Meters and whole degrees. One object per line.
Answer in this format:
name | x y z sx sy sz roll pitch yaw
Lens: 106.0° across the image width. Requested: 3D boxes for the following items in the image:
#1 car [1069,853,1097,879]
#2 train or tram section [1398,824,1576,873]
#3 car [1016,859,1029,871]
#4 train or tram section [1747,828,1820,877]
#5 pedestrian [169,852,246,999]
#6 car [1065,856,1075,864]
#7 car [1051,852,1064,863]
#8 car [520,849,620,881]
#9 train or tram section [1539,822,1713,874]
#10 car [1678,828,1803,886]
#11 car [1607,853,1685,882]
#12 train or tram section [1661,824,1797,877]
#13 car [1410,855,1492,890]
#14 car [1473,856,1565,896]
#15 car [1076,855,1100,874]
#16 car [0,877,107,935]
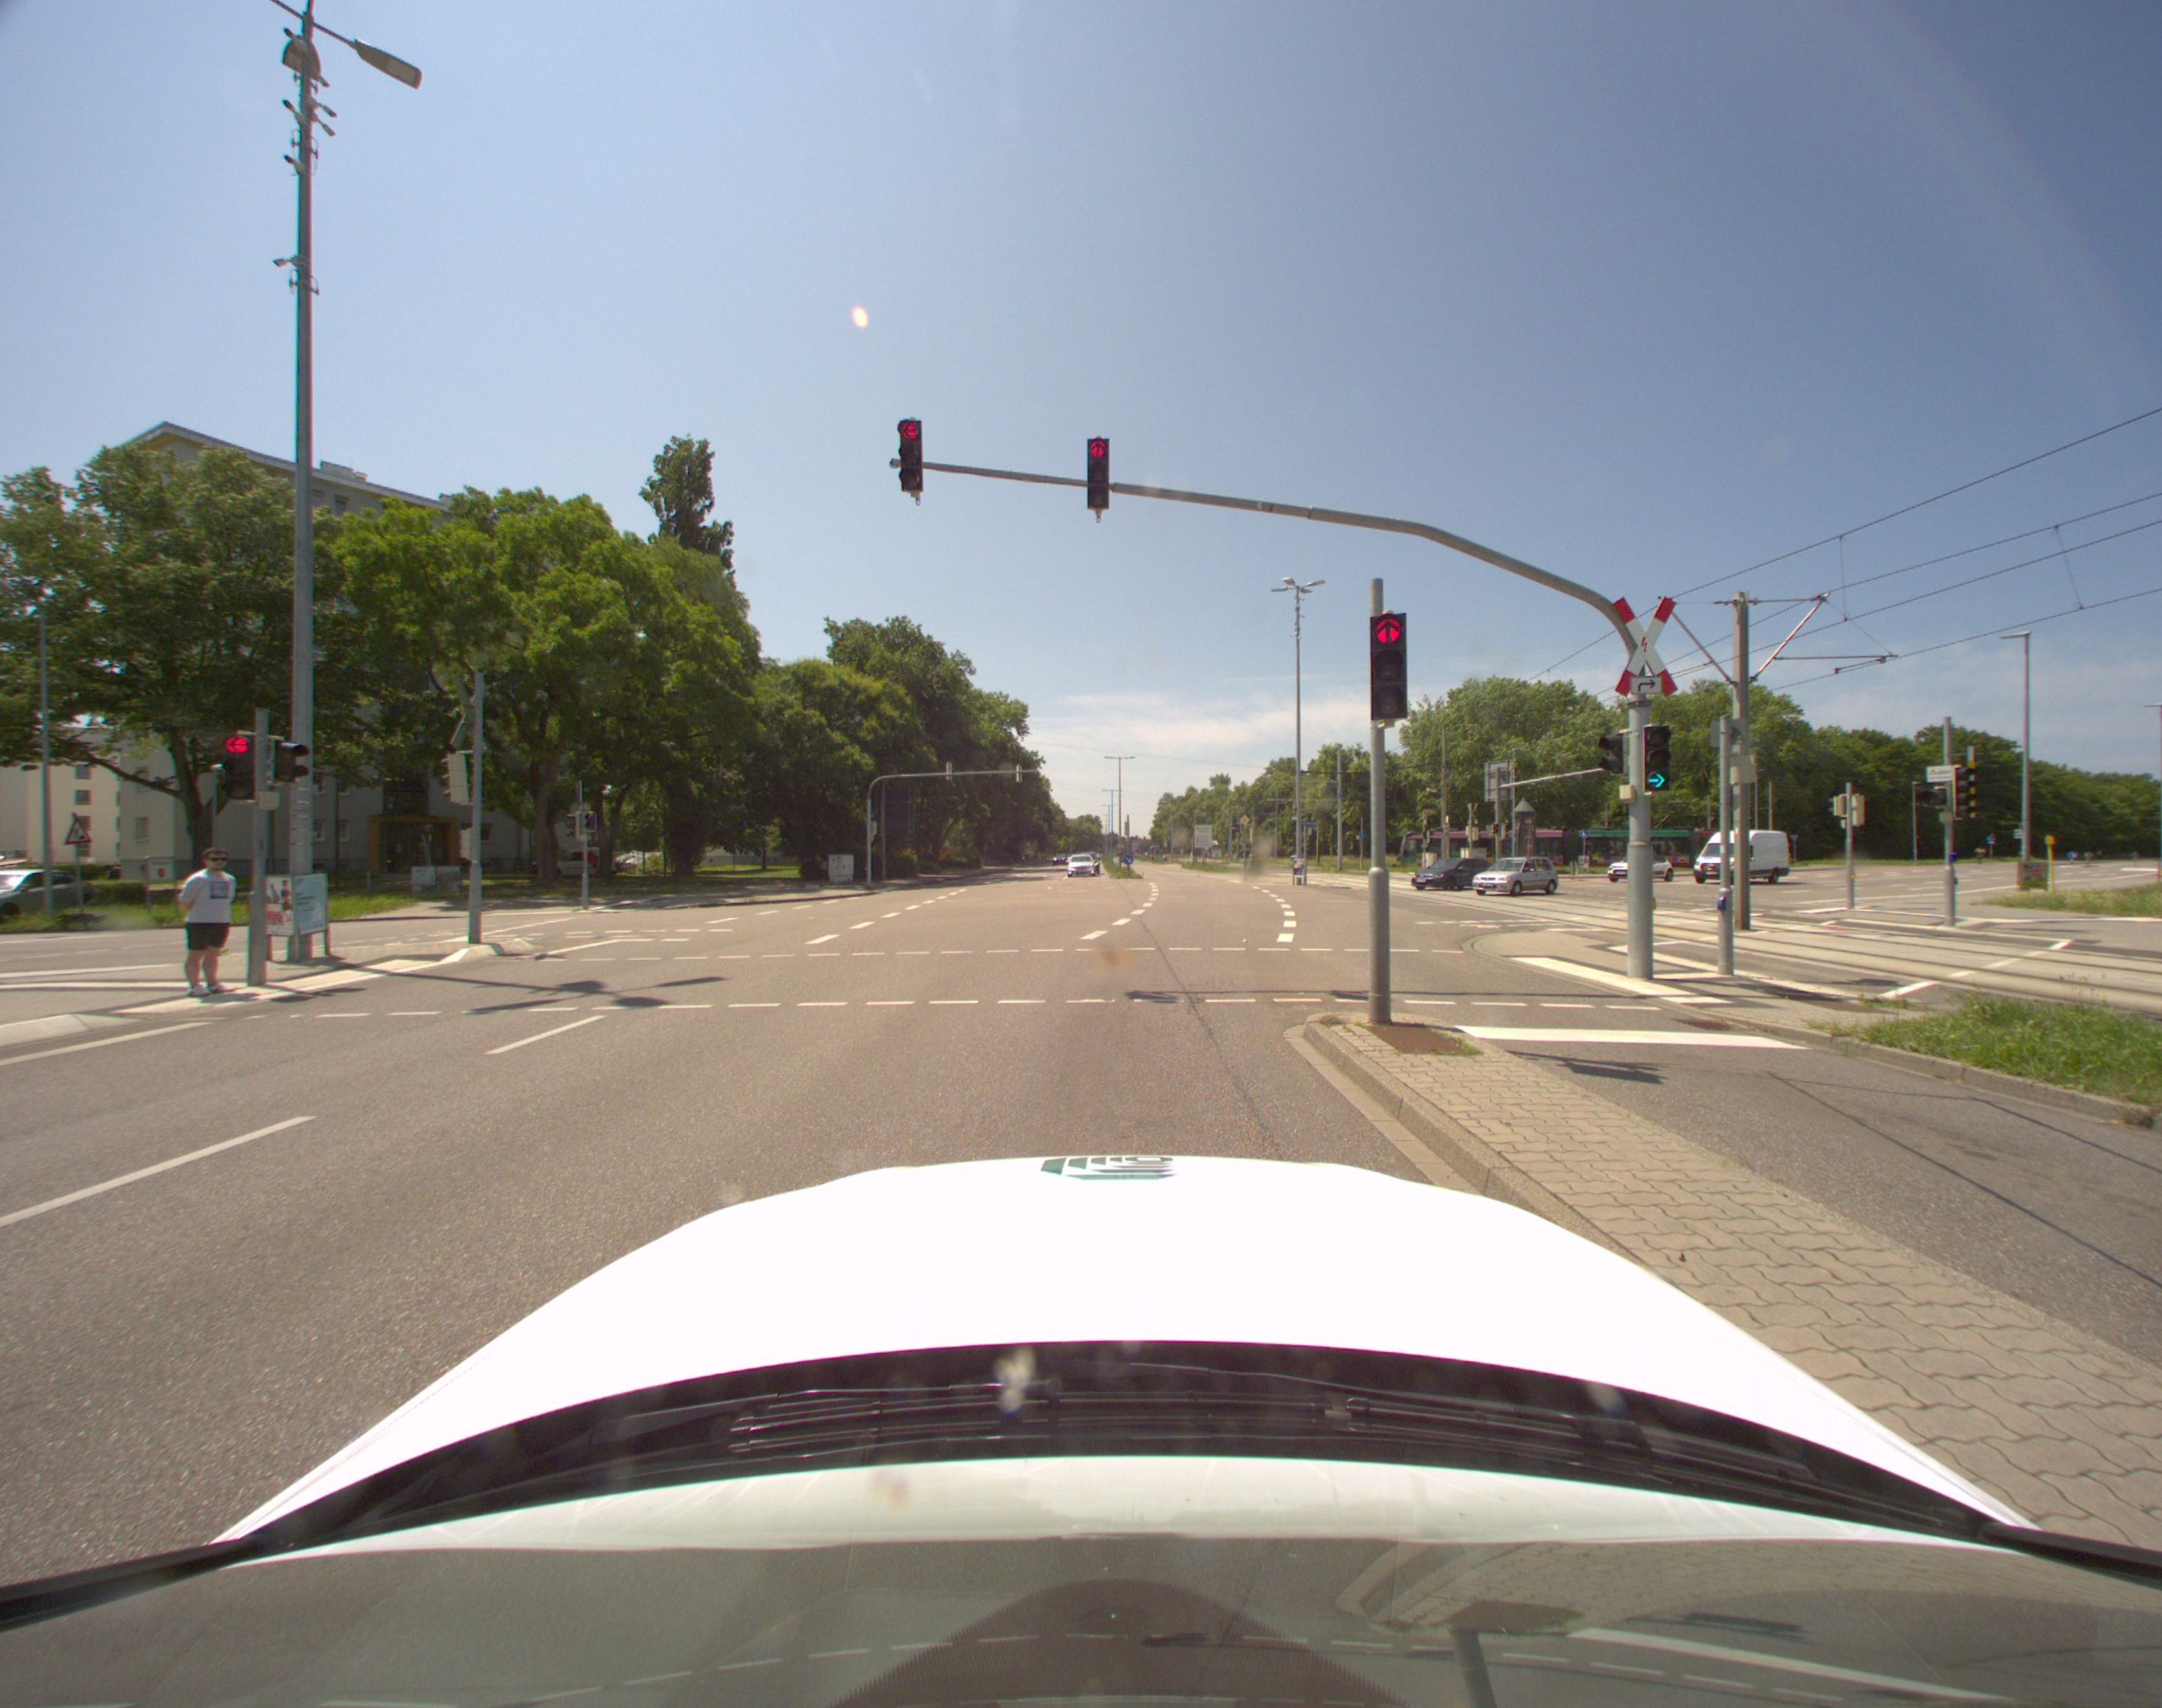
car | 0.163 0.771 54.376 1.778 1.629 3.867 0 0 2
train or tram section | 33.288 -0.394 67.484 12.928 3.812 2.936 0 -3 17
car | -10.346 1.880 145.213 1.988 2.014 3.997 3 -1 -2
train or tram section | 66.031 -0.001 76.370 14.033 3.920 2.889 3 -4 -40
pedestrian | -10.316 0.824 9.625 0.381 1.687 0.485 0 0 -2
car | -2.104 1.161 151.393 1.665 1.490 3.712 0 0 2
car | -3.348 0.498 115.794 1.665 1.490 3.712 0 0 2
car | -29.660 0.609 47.373 1.769 1.768 4.577 0 0 41
train or tram section | 44.572 -0.381 66.665 13.407 3.812 2.914 1 -3 -9
car | 34.390 0.141 42.393 7.306 2.802 2.691 0 0 -31
car | 30.228 0.698 43.542 4.506 1.463 1.625 0 0 -29
train or tram section | 55.974 -0.182 70.162 14.058 3.920 2.900 2 -3 -24
car | 16.476 0.797 36.227 3.519 1.463 1.624 0 0 -30
car | 17.276 0.809 32.077 3.821 1.463 1.623 0 0 -34
car | 0.554 0.746 61.719 1.704 1.365 3.867 0 0 2
car | -29.198 1.390 22.173 1.629 1.380 3.973 1 0 -20
